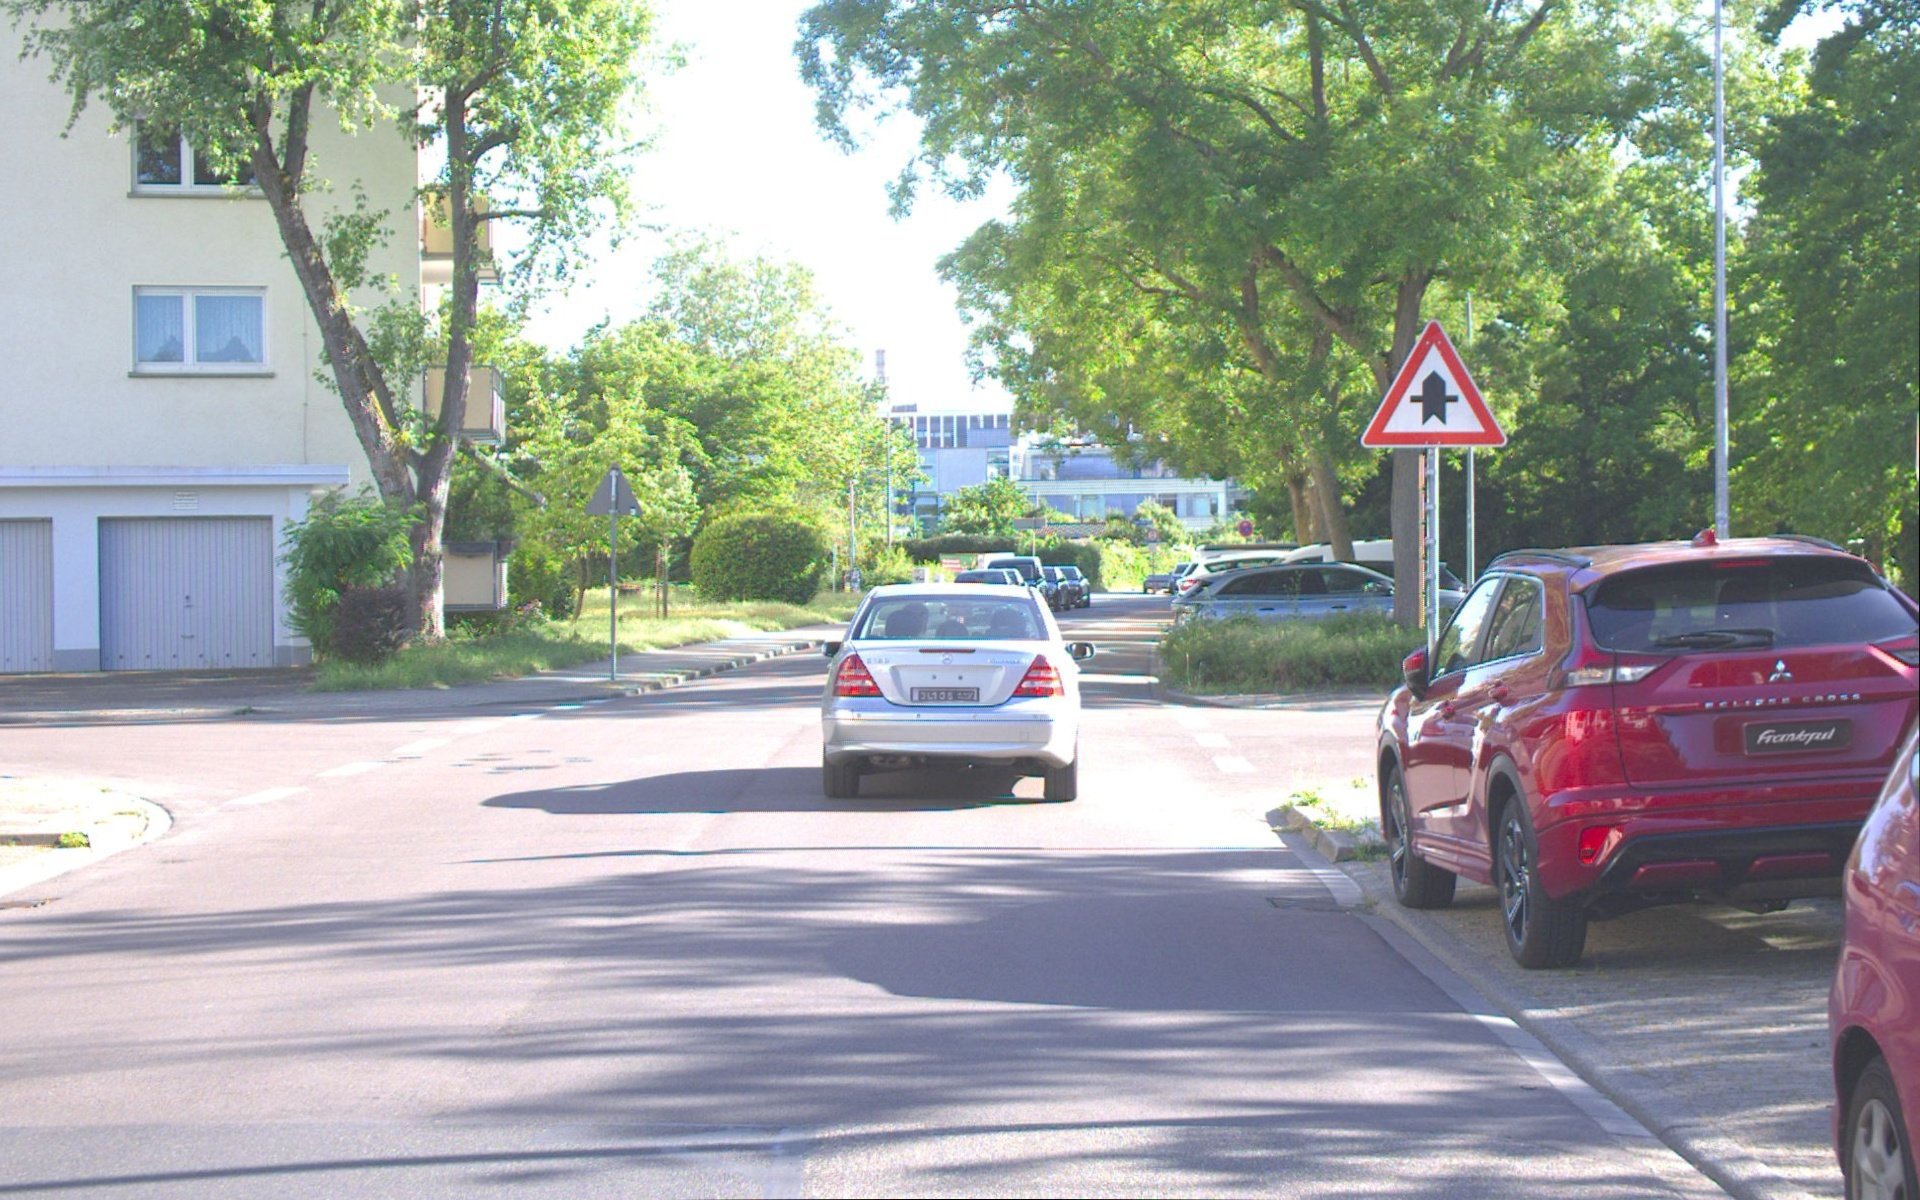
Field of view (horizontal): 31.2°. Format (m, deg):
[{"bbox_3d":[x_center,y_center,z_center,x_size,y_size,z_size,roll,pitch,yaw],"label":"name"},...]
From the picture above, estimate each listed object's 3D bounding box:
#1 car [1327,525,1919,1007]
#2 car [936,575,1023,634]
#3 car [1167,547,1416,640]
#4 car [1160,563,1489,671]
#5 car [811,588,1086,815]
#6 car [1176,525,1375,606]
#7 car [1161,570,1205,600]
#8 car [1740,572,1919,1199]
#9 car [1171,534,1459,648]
[{"bbox_3d":[2.867,0.579,14.880,1.774,1.674,4.645,-3,1,-3],"label":"car"},{"bbox_3d":[0.562,0.114,94.804,1.913,1.485,3.836,-3,0,7],"label":"car"},{"bbox_3d":[6.669,-0.143,69.382,4.885,1.718,2.000,-2,0,5],"label":"car"},{"bbox_3d":[5.447,0.238,51.891,4.782,1.544,2.011,-1,1,2],"label":"car"},{"bbox_3d":[-0.080,0.644,23.394,1.733,1.429,3.438,0,0,0],"label":"car"},{"bbox_3d":[8.441,-0.929,91.906,5.218,2.052,2.000,-1,0,6],"label":"car"},{"bbox_3d":[11.539,-0.775,177.736,1.894,1.497,3.655,0,1,10],"label":"car"},{"bbox_3d":[2.634,0.680,5.732,1.691,1.469,4.000,-1,0,-1],"label":"car"},{"bbox_3d":[6.356,-0.168,61.940,4.884,1.917,2.000,-1,1,-3],"label":"car"}]
